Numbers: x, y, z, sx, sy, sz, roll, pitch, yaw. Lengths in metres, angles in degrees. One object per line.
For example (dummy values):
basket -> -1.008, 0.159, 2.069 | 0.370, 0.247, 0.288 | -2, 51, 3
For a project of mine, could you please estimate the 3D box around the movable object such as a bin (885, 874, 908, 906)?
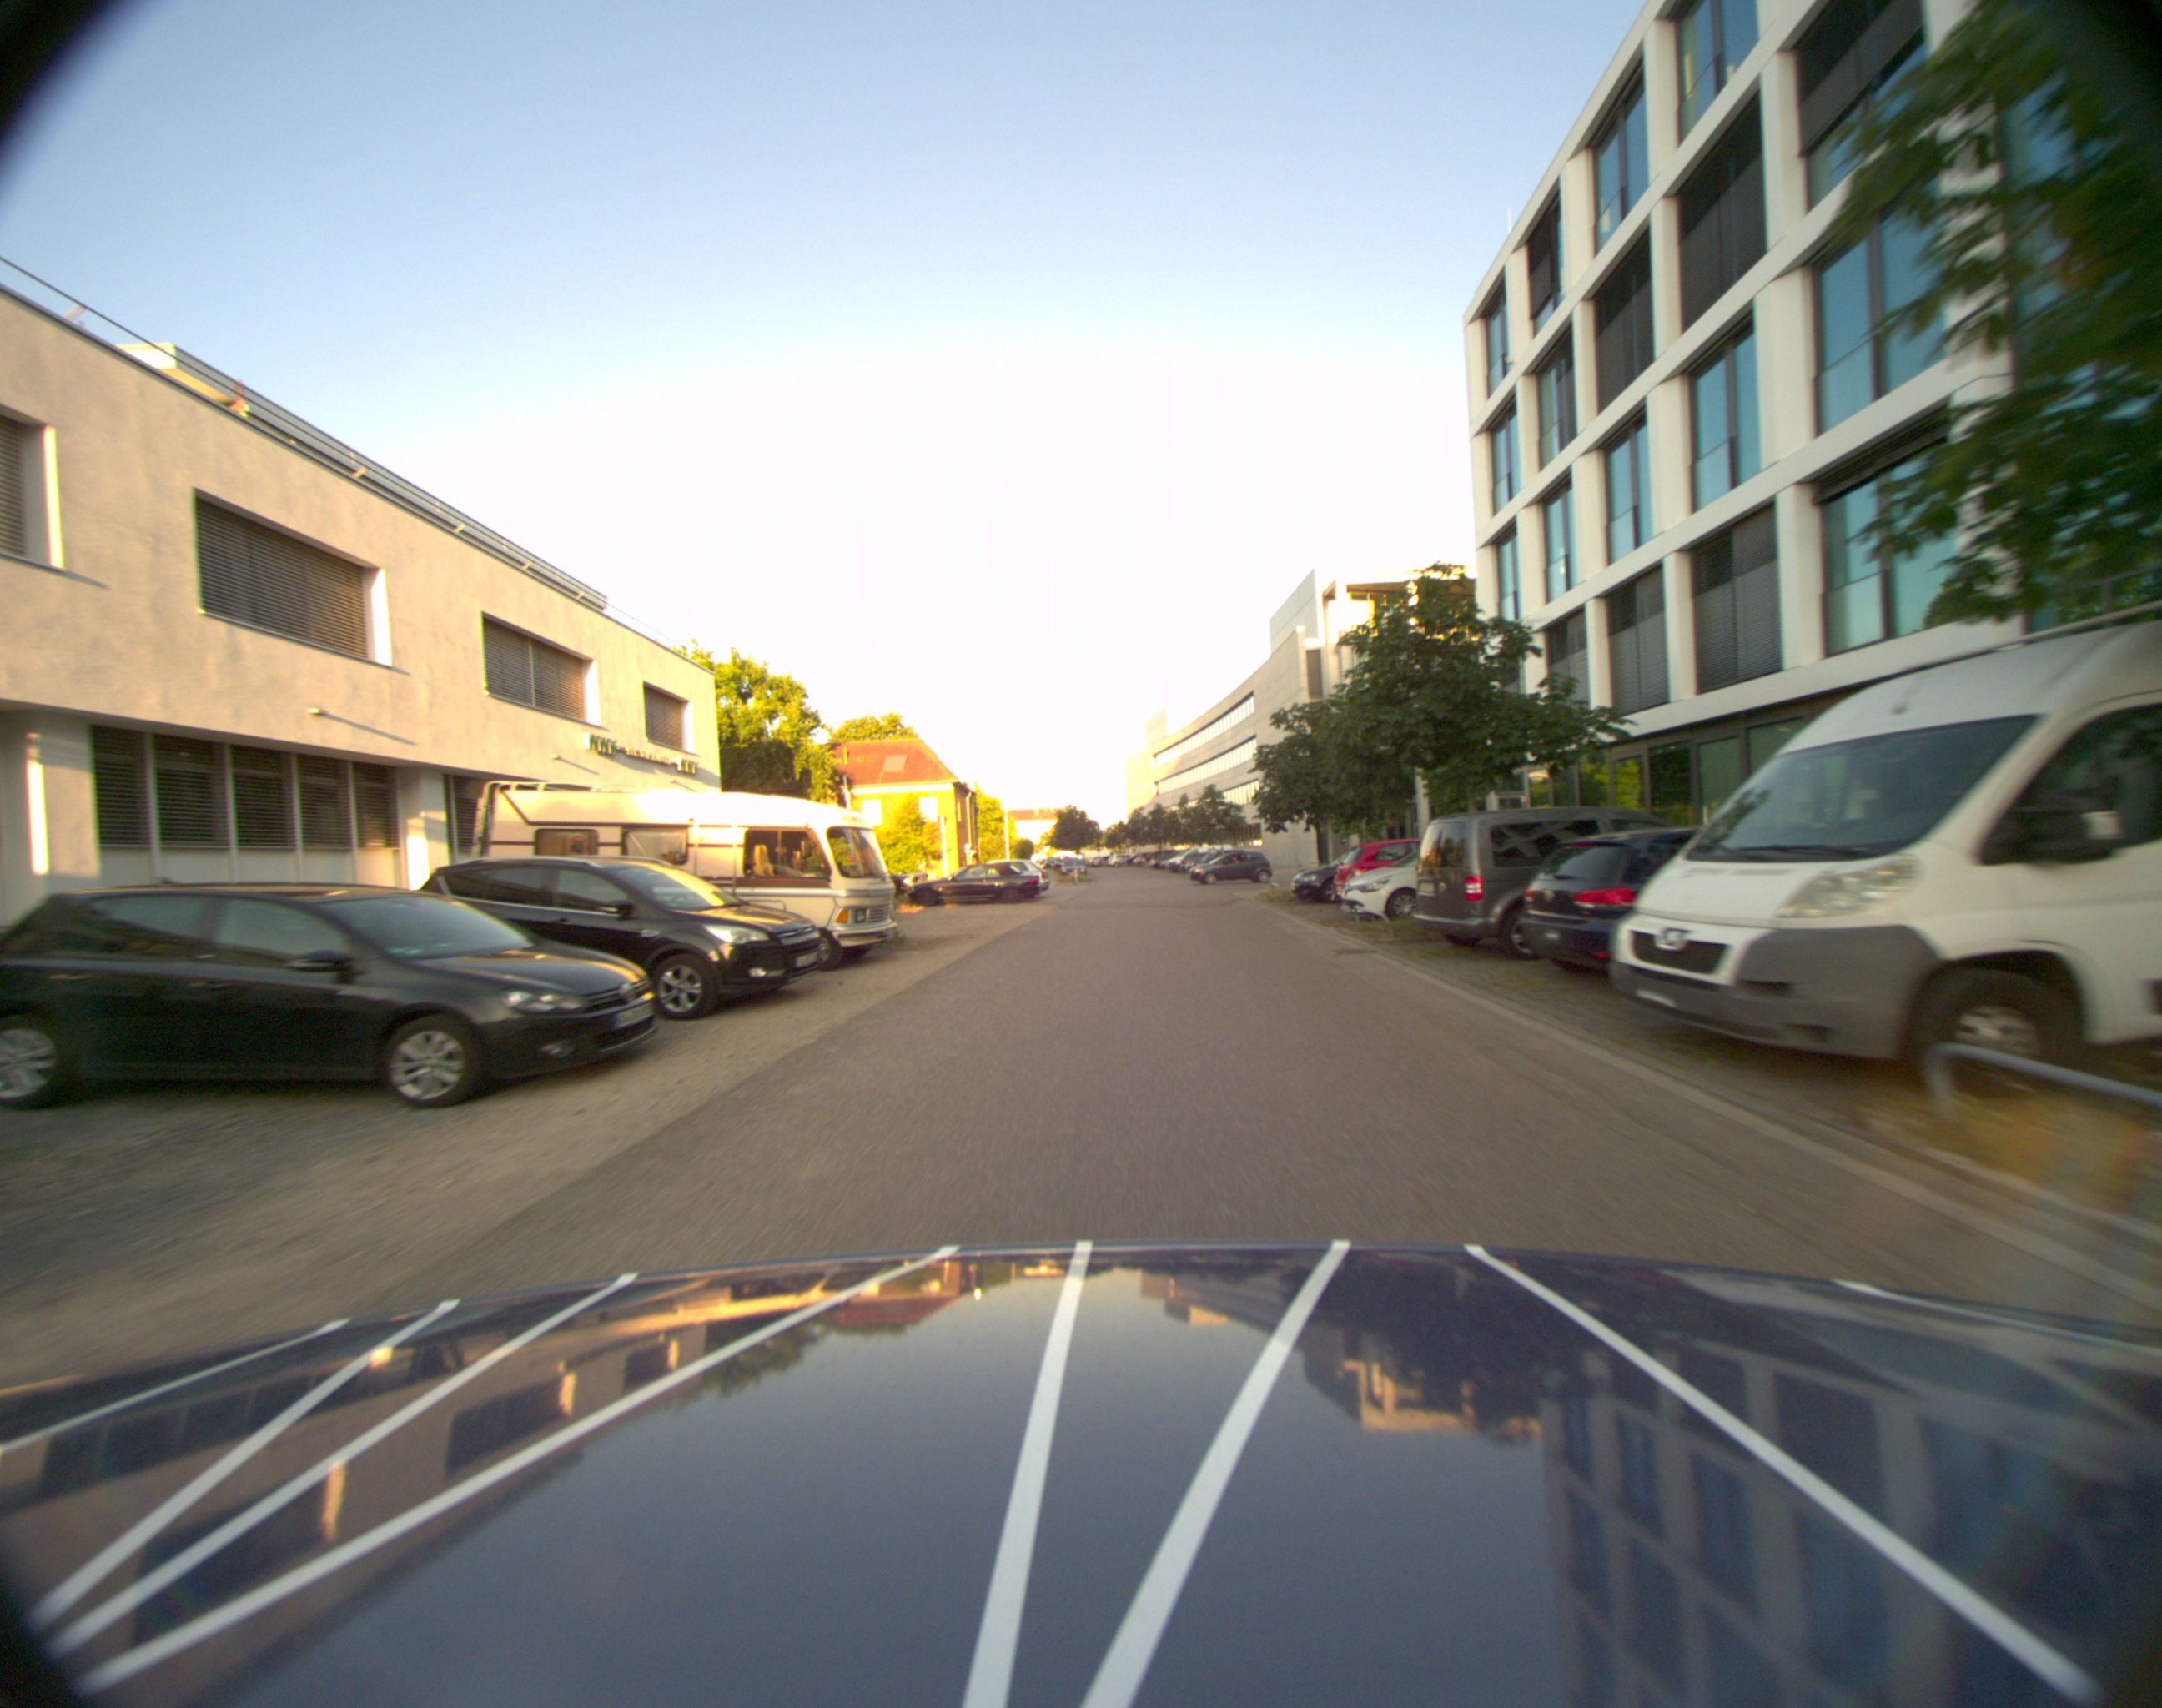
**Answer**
movable object such as a bin -> -6.261, 1.217, 25.809 | 0.623, 1.015, 0.561 | -3, 1, -6

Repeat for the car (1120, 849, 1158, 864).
car -> 6.635, 0.256, 87.175 | 4.028, 1.340, 1.798 | -5, 0, -8

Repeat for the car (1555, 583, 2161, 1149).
car -> 6.298, -0.051, 4.539 | 5.392, 2.617, 2.079 | -4, 0, 5

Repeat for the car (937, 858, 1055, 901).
car -> -3.043, 0.904, 27.857 | 4.066, 1.399, 1.896 | -2, 0, 0

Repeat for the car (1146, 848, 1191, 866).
car -> 8.211, 0.293, 71.533 | 3.812, 1.353, 1.799 | -5, 0, -3

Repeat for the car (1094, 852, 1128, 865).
car -> 3.927, 0.609, 99.758 | 4.028, 1.340, 1.798 | -5, 0, -8

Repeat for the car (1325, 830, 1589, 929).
car -> 7.083, 0.468, 14.658 | 4.117, 1.509, 1.781 | -4, 0, 3

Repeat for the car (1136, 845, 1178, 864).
car -> 7.980, 0.057, 80.023 | 4.028, 1.574, 1.798 | -5, 0, -8

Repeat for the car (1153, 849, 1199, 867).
car -> 8.578, 0.362, 69.081 | 3.812, 1.353, 1.799 | -5, 0, -3

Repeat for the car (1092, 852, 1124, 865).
car -> 3.593, 0.637, 102.229 | 4.028, 1.340, 1.798 | -5, 0, -8

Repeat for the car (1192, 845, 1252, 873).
car -> 9.465, 0.352, 51.309 | 3.654, 1.538, 1.726 | -5, 0, 3

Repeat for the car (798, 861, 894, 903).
car -> -11.178, 1.311, 36.357 | 3.951, 1.755, 1.782 | -3, -1, -3

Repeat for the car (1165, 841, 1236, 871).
car -> 9.259, 0.169, 59.228 | 5.082, 1.870, 1.889 | -5, 0, -3

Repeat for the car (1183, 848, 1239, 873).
car -> 9.203, 0.464, 54.079 | 3.654, 1.416, 1.726 | -5, 0, 3

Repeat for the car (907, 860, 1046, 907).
car -> -3.418, 0.945, 25.447 | 4.326, 1.326, 1.896 | -2, 1, 0

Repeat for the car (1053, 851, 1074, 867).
car -> -1.774, 0.518, 77.053 | 1.771, 1.454, 4.366 | -2, 0, -6

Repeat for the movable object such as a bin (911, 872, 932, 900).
movable object such as a bin -> -6.022, 1.207, 28.726 | 0.645, 1.015, 0.711 | -3, 1, -6

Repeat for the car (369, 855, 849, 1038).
car -> -5.123, 0.967, 8.627 | 4.249, 1.731, 1.968 | -2, 1, 7

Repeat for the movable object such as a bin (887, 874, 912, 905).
movable object such as a bin -> -6.315, 1.235, 26.440 | 0.707, 1.015, 0.711 | -3, 1, -6

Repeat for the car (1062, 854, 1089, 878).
car -> -0.328, 0.800, 52.760 | 1.680, 1.454, 4.368 | -2, 0, 1

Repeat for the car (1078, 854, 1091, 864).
car -> 0.534, 0.719, 121.830 | 1.798, 1.442, 4.027 | -5, 0, -3

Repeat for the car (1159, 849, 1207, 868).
car -> 8.896, 0.405, 66.289 | 3.812, 1.353, 1.799 | -5, 0, -3

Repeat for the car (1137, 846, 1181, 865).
car -> 7.908, 0.145, 77.190 | 4.028, 1.574, 1.798 | -5, 0, -8

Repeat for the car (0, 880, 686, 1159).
car -> -5.430, 1.079, 5.652 | 4.015, 1.554, 1.711 | -2, 0, -2

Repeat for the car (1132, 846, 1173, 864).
car -> 7.685, 0.112, 82.253 | 4.028, 1.574, 1.798 | -5, 0, -8

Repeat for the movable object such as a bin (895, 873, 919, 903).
movable object such as a bin -> -6.243, 1.226, 27.322 | 0.707, 1.015, 0.711 | -3, 1, -6

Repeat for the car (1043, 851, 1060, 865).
car -> -3.182, 0.450, 83.431 | 1.770, 1.454, 4.367 | -2, 0, -2

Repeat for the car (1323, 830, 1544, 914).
car -> 7.924, 0.396, 17.384 | 4.117, 1.509, 1.845 | -4, 0, 3

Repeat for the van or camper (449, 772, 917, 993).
van or camper -> -5.766, 0.387, 11.739 | 5.794, 2.848, 2.486 | -2, 1, 1

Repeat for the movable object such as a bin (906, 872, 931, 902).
movable object such as a bin -> -5.982, 1.211, 27.993 | 0.758, 1.015, 0.711 | -3, 1, -6

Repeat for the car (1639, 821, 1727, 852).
car -> 33.132, -0.973, 41.931 | 1.648, 1.497, 3.855 | -3, 2, -3

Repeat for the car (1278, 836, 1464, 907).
car -> 7.524, 0.445, 20.021 | 4.118, 1.509, 1.845 | -4, 0, 2

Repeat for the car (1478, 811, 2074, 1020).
car -> 6.441, 0.531, 7.413 | 4.118, 1.491, 1.774 | -4, 0, 0

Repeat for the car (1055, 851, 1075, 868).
car -> -1.512, 0.481, 71.583 | 1.770, 1.454, 4.367 | -2, 0, -2

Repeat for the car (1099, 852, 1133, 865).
car -> 4.506, 0.569, 97.612 | 4.028, 1.340, 1.798 | -5, 0, -8

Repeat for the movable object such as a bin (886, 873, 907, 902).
movable object such as a bin -> -6.866, 1.242, 28.349 | 0.645, 1.015, 0.446 | -3, 1, -6

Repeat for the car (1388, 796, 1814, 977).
car -> 6.416, 0.377, 9.732 | 4.118, 1.806, 1.816 | -4, 0, 0

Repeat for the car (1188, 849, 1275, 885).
car -> 7.128, 0.599, 36.280 | 3.734, 1.486, 1.649 | -3, 0, -1

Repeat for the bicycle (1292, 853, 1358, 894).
bicycle -> 7.132, 0.561, 22.228 | 1.699, 1.059, 0.566 | -4, 0, 4

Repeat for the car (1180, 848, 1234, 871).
car -> 9.323, 0.395, 56.549 | 3.654, 1.416, 1.726 | -5, 0, 2

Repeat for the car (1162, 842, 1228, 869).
car -> 9.602, 0.128, 64.202 | 5.082, 1.816, 1.889 | -5, 0, -3
